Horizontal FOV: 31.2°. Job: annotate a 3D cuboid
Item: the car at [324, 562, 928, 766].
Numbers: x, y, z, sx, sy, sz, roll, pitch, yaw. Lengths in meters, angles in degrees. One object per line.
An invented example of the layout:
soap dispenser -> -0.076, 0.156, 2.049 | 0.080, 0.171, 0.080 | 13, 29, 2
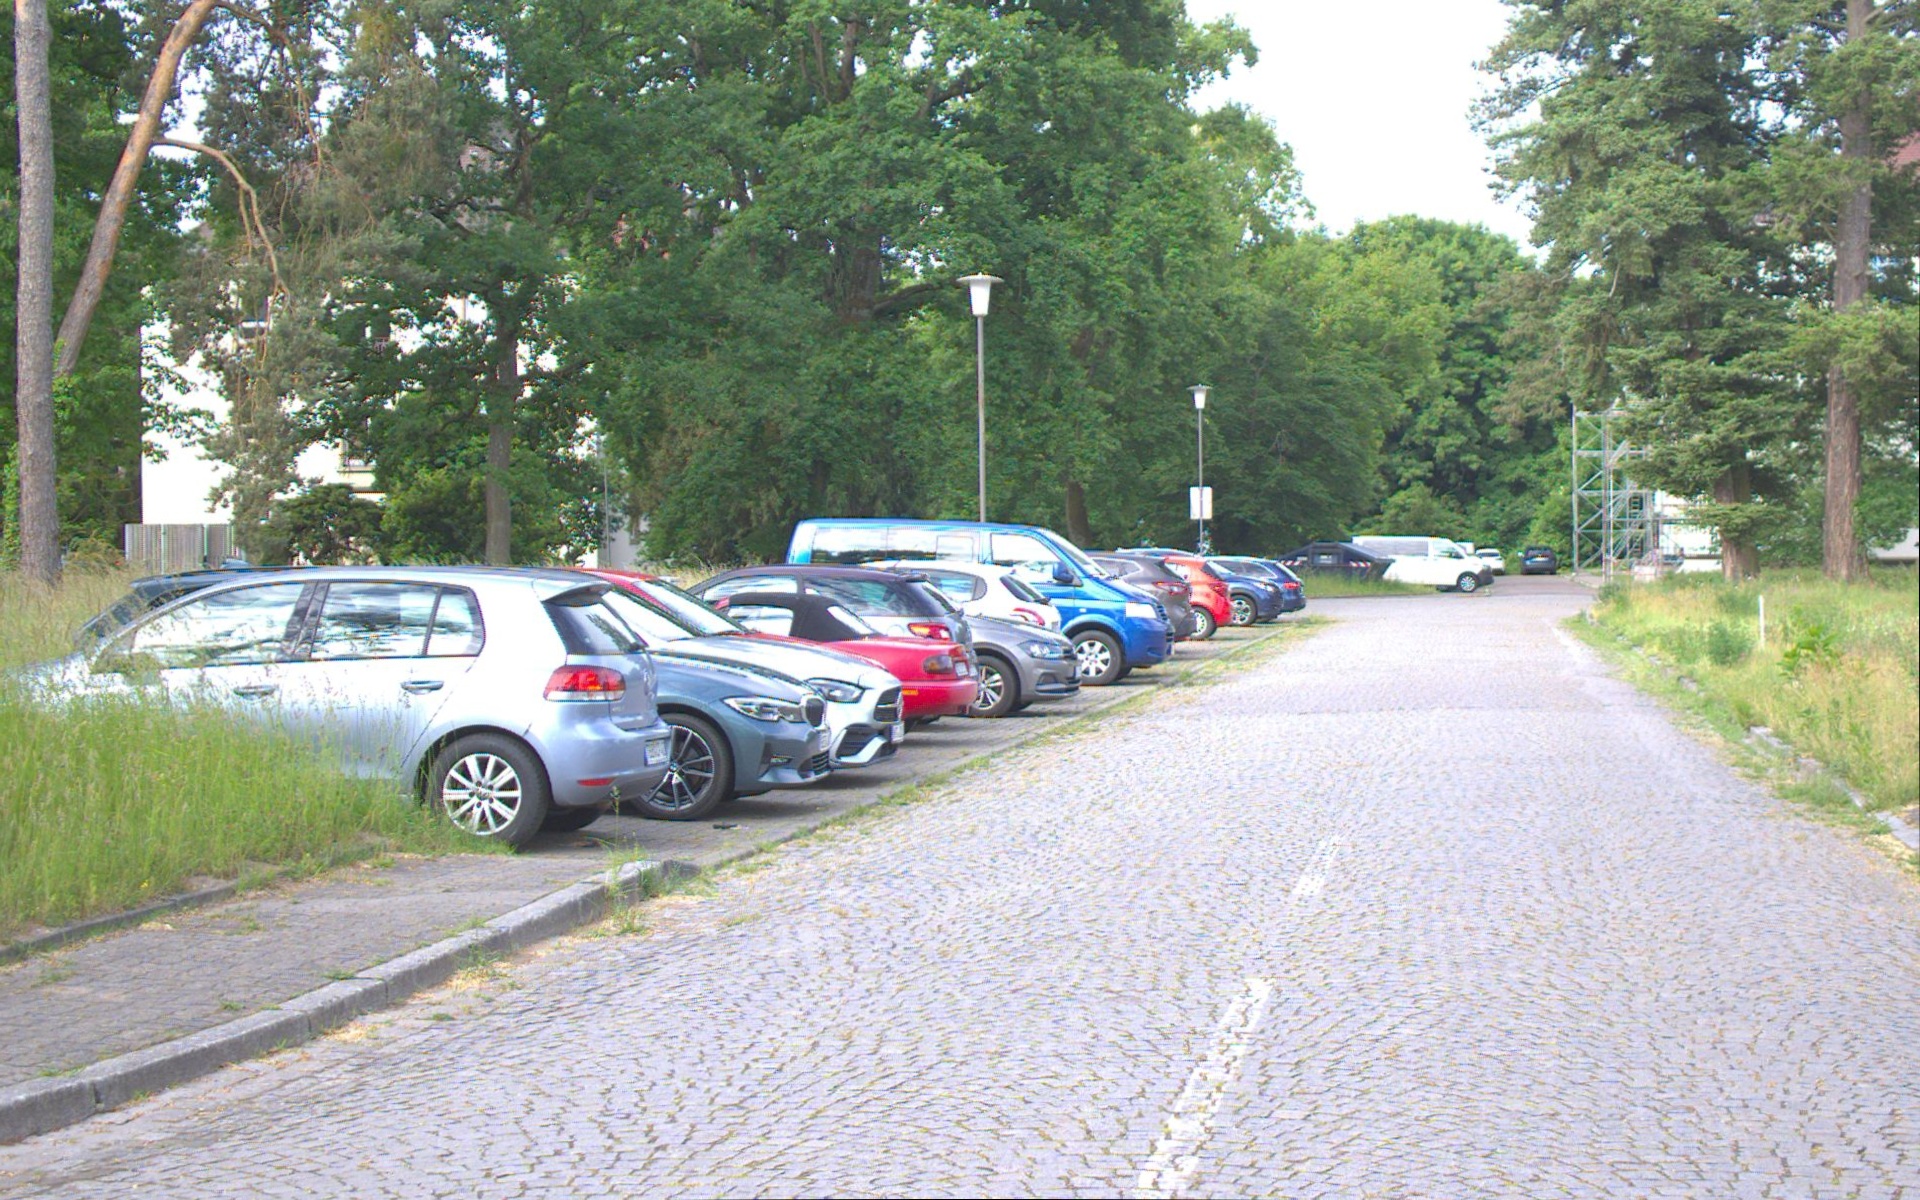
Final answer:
car -> -2.493, 0.453, 26.188 | 4.255, 1.450, 1.854 | 0, 1, 9

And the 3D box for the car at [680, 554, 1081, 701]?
car -> -0.819, 0.268, 36.865 | 4.007, 1.496, 1.842 | 0, 1, 10

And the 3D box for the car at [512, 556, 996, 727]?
car -> -1.836, 0.346, 31.208 | 4.090, 1.475, 1.754 | 0, 1, 10

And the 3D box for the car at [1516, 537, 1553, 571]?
car -> 31.473, -2.509, 188.374 | 1.790, 1.714, 4.060 | 0, -1, 7

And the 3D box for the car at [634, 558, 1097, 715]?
car -> -0.903, 0.333, 33.979 | 4.306, 1.475, 1.730 | 0, 1, 10

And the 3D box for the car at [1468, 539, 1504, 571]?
car -> 28.833, -2.447, 188.469 | 1.790, 1.630, 4.060 | 0, -1, 7

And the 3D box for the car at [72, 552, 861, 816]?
car -> -2.964, 0.482, 21.207 | 4.502, 1.532, 1.870 | 0, 0, 6

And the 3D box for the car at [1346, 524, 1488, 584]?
car -> 16.423, -1.650, 123.595 | 4.979, 2.065, 2.051 | 1, -1, 8

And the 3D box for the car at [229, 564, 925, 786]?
car -> -2.601, 0.479, 23.868 | 4.438, 1.450, 1.949 | 0, 0, 10

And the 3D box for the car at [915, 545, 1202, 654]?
car -> 1.485, -0.027, 50.841 | 4.069, 1.570, 1.954 | 0, 1, 8

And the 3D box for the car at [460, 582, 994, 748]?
car -> -1.887, 0.507, 28.505 | 4.132, 1.279, 1.763 | 0, 1, 9

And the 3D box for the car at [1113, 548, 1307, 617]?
car -> 5.513, -0.395, 75.769 | 4.073, 1.462, 1.625 | 0, 1, 12

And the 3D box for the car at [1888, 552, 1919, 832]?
car -> 6.926, 0.410, 17.859 | 3.773, 1.474, 1.743 | -3, 1, 6

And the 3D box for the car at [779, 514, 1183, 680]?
car -> 0.294, -0.064, 42.048 | 4.711, 1.974, 2.037 | 0, 1, 8

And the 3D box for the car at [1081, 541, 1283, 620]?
car -> 4.617, -0.422, 71.156 | 4.072, 1.598, 1.787 | 0, 1, 7

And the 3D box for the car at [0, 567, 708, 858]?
car -> -3.696, 0.560, 18.664 | 4.331, 1.465, 1.826 | 0, 0, 10

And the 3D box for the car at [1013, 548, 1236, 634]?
car -> 2.935, -0.177, 61.050 | 3.817, 1.484, 1.787 | 0, 1, 8
